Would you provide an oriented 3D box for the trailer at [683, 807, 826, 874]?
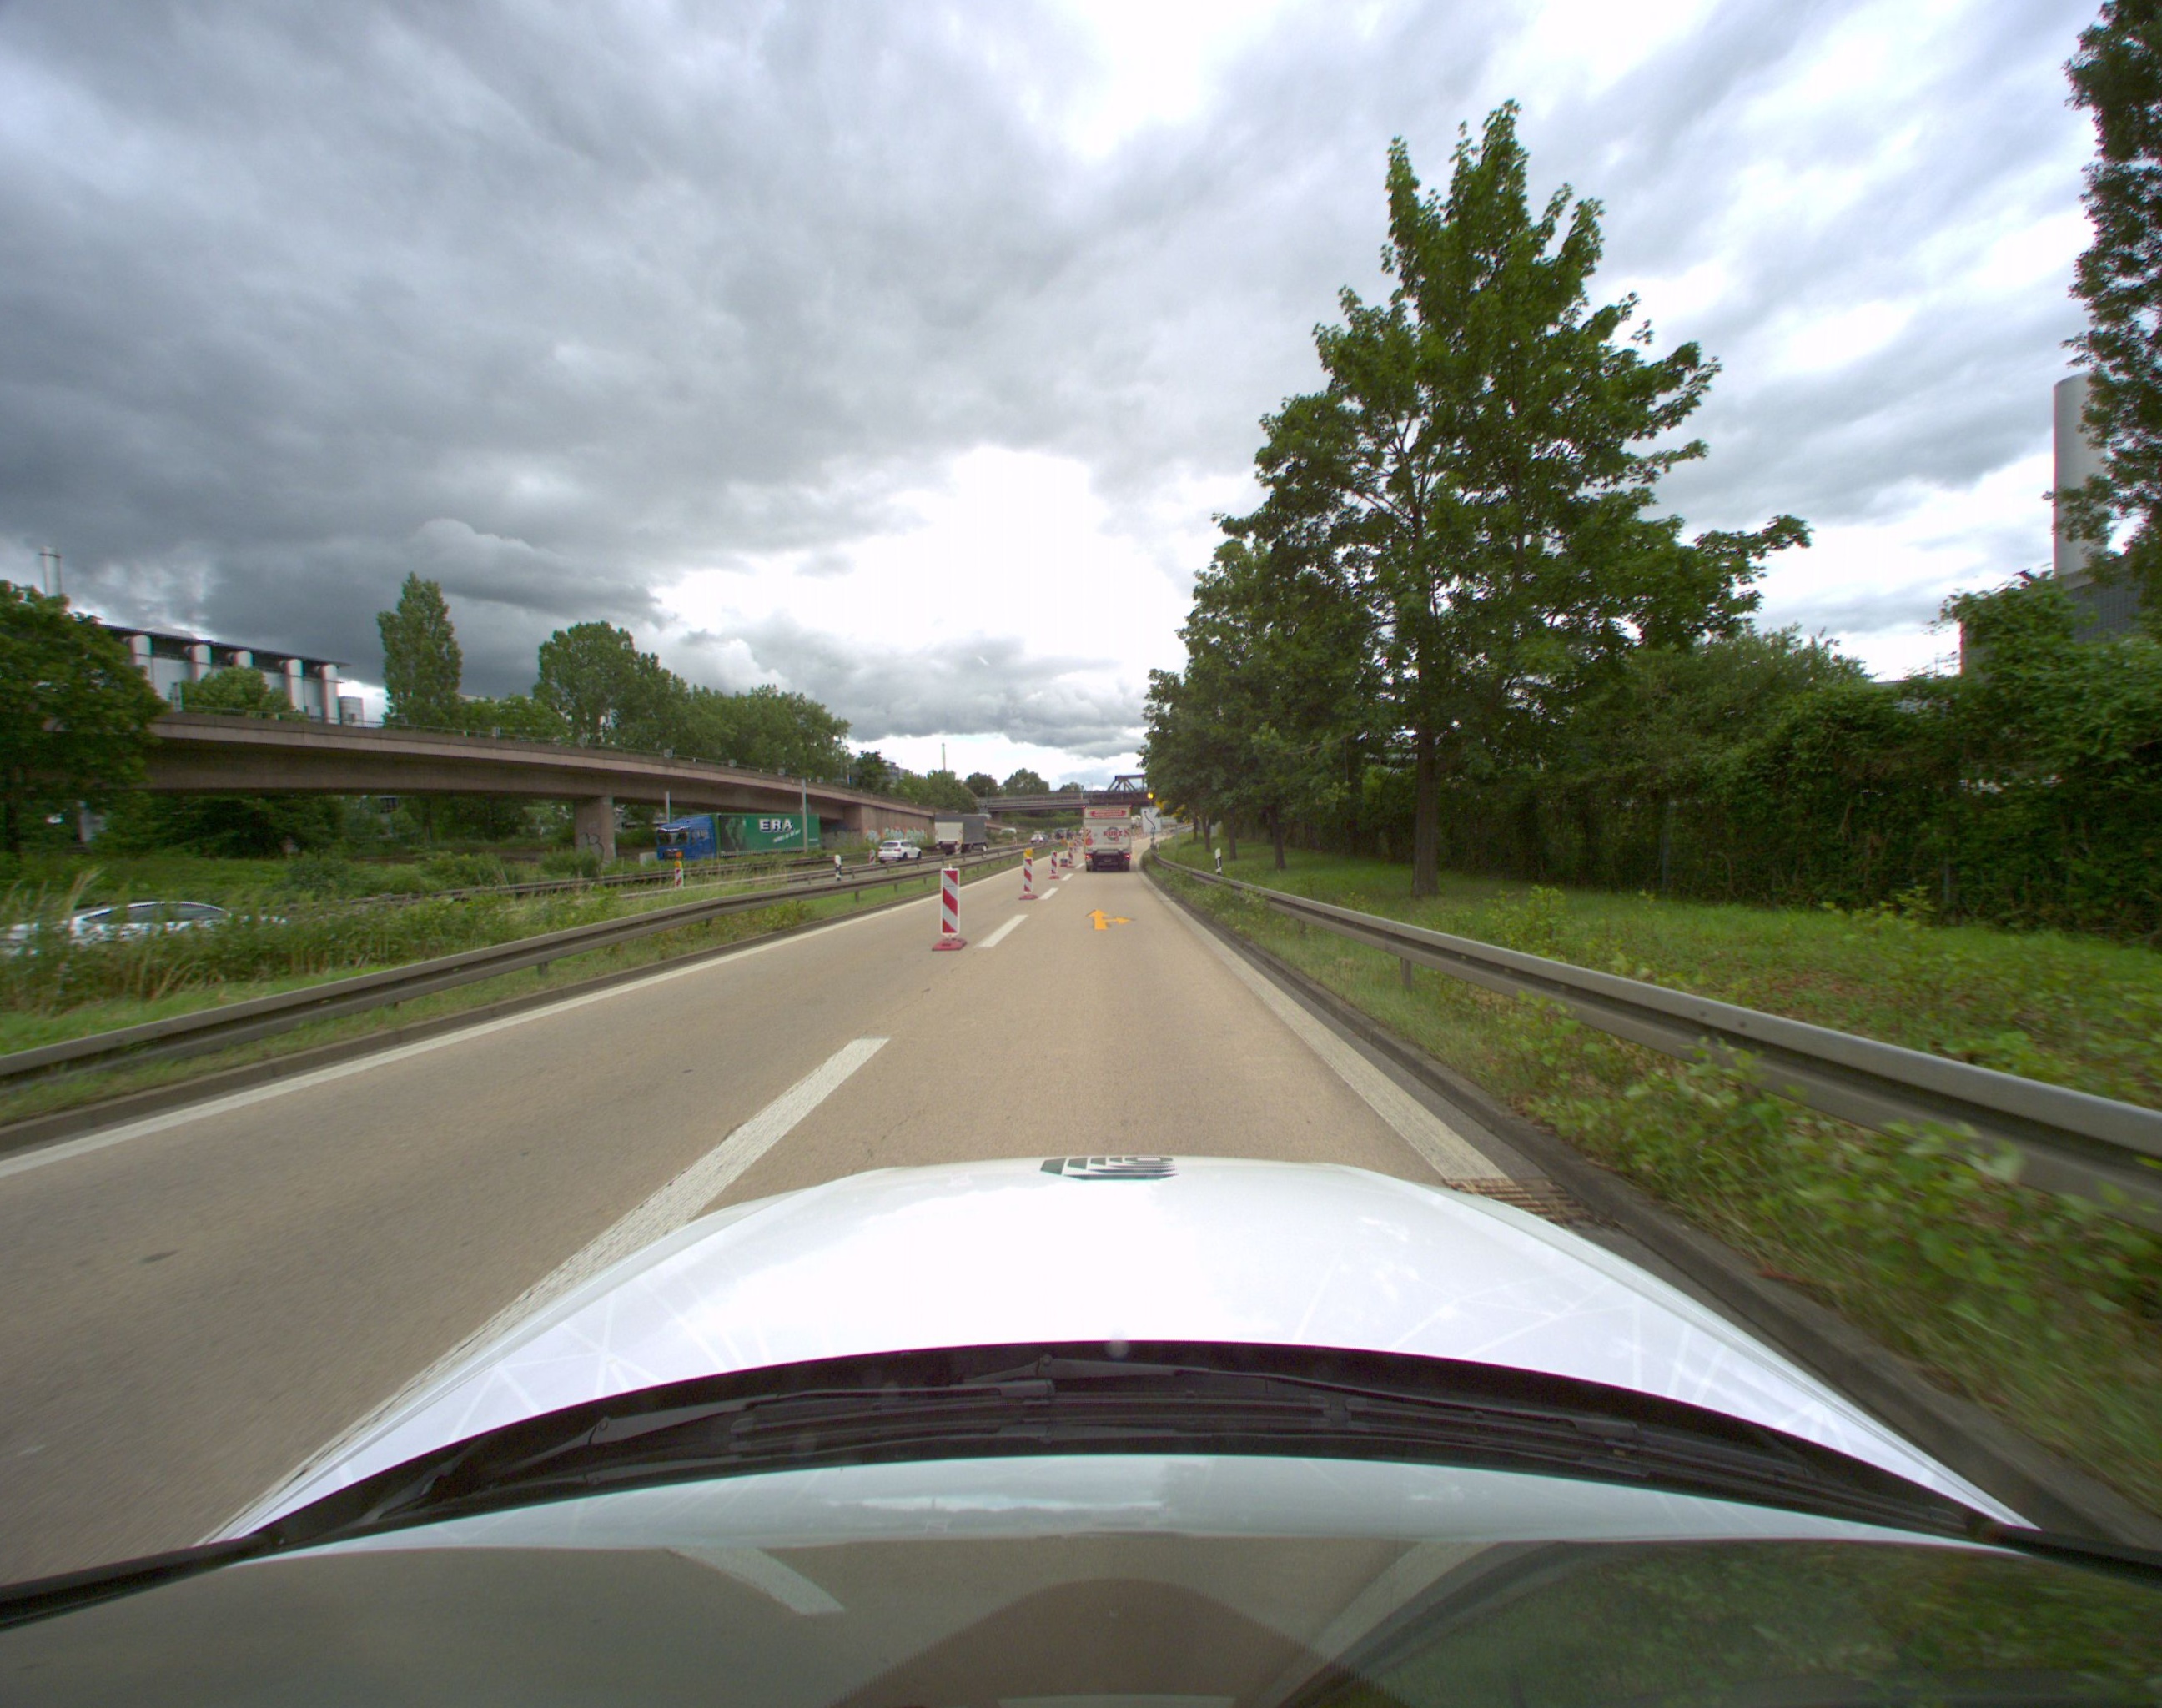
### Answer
[{"bbox_3d":[-23.620,-1.081,60.411,2.754,4.293,14.021,-1,2,10],"label":"trailer"}]

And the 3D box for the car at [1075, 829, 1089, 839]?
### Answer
[{"bbox_3d":[0.183,-3.334,138.180,1.983,1.617,4.008,-1,1,7],"label":"car"}]

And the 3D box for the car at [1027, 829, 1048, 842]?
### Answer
[{"bbox_3d":[-5.591,-2.355,105.558,1.983,1.617,4.008,-1,1,7],"label":"car"}]

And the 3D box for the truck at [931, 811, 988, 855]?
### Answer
[{"bbox_3d":[-10.737,-1.871,72.772,3.034,3.655,7.412,-1,1,7],"label":"truck"}]

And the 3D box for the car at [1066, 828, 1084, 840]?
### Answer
[{"bbox_3d":[-0.831,-2.881,116.903,1.983,1.617,4.008,-1,1,7],"label":"car"}]

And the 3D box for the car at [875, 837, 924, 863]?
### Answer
[{"bbox_3d":[-13.146,-0.299,59.222,1.981,1.712,4.114,-1,1,11],"label":"car"}]

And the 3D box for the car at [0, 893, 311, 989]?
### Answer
[{"bbox_3d":[-20.707,1.804,18.160,1.981,1.455,4.816,-1,2,11],"label":"car"}]

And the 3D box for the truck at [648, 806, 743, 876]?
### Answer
[{"bbox_3d":[-24.931,-0.863,53.017,2.735,4.271,5.520,-1,1,10],"label":"truck"}]

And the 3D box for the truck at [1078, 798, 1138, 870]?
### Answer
[{"bbox_3d":[1.578,-1.067,46.228,3.039,3.673,7.933,-1,0,2],"label":"truck"}]

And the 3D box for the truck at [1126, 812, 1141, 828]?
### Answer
[{"bbox_3d":[13.610,-8.805,210.289,3.269,3.852,7.680,-1,1,7],"label":"truck"}]
